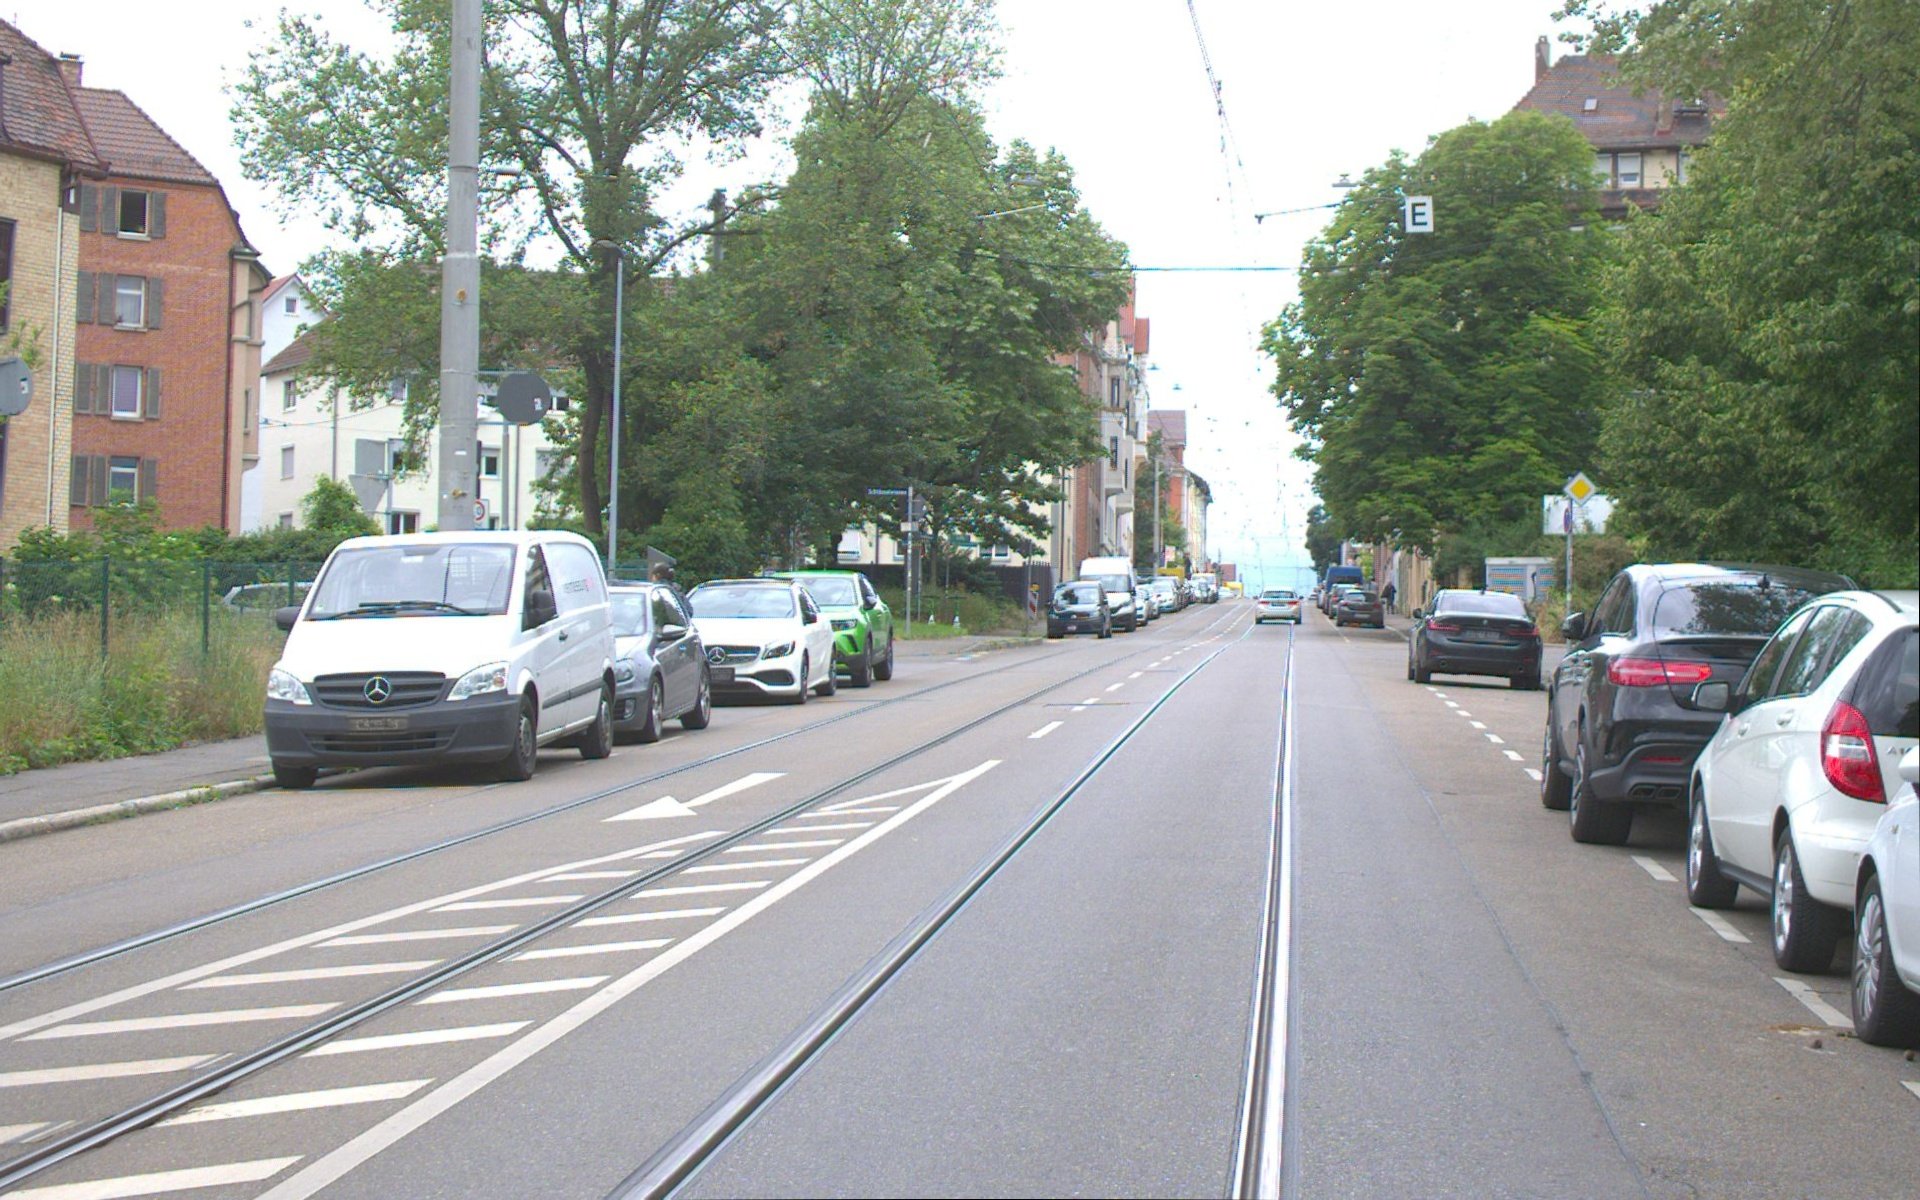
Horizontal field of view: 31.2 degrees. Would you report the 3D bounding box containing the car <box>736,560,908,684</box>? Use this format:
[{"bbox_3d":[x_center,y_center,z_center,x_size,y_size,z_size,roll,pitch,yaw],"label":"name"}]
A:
[{"bbox_3d":[-1.802,0.276,46.126,1.723,1.574,4.180,0,0,6],"label":"car"}]

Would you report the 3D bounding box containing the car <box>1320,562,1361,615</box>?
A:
[{"bbox_3d":[19.142,-0.573,173.033,1.994,2.566,4.703,1,-1,6],"label":"car"}]

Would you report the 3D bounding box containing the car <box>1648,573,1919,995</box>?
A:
[{"bbox_3d":[4.310,0.758,15.567,1.726,1.626,4.087,5,1,4],"label":"car"}]

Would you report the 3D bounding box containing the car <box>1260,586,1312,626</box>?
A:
[{"bbox_3d":[13.071,0.257,137.994,1.994,1.493,4.311,2,0,5],"label":"car"}]

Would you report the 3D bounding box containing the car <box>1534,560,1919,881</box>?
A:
[{"bbox_3d":[4.735,0.649,21.505,1.878,1.672,5.061,3,1,6],"label":"car"}]

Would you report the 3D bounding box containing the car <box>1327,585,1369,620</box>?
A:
[{"bbox_3d":[18.917,0.149,167.517,1.994,1.645,3.999,1,-1,6],"label":"car"}]

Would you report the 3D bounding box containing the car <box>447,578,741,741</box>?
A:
[{"bbox_3d":[-3.375,0.515,32.597,1.896,1.428,4.510,0,0,6],"label":"car"}]

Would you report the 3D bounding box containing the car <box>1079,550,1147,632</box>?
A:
[{"bbox_3d":[5.412,-0.280,121.009,2.231,2.755,5.798,2,0,4],"label":"car"}]

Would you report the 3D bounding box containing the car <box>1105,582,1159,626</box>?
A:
[{"bbox_3d":[6.579,0.162,131.254,1.994,1.595,4.311,2,0,4],"label":"car"}]

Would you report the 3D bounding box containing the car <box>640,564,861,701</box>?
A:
[{"bbox_3d":[-2.409,0.372,40.649,1.885,1.521,4.662,0,0,6],"label":"car"}]

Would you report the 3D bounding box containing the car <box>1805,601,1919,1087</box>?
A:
[{"bbox_3d":[3.861,0.820,10.698,1.629,1.511,4.063,4,1,4],"label":"car"}]

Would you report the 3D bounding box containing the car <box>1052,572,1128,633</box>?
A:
[{"bbox_3d":[4.051,0.081,106.582,1.994,1.802,3.999,2,0,7],"label":"car"}]

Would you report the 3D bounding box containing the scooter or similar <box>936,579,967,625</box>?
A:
[{"bbox_3d":[-0.251,0.053,102.421,0.691,1.334,1.638,2,0,7],"label":"scooter or similar"}]

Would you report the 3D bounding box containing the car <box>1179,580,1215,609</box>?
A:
[{"bbox_3d":[14.054,-0.311,203.905,1.994,1.596,3.999,2,0,5],"label":"car"}]

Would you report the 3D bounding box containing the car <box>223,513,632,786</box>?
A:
[{"bbox_3d":[-3.991,0.375,26.676,2.036,1.875,4.884,-2,-1,4],"label":"car"}]

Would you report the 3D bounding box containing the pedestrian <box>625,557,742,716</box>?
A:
[{"bbox_3d":[-2.884,0.381,35.824,0.805,1.623,0.916,2,-1,-37],"label":"pedestrian"}]

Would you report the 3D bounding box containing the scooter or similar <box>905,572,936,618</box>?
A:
[{"bbox_3d":[-1.167,-0.148,102.474,0.691,1.334,1.638,2,0,7],"label":"scooter or similar"}]

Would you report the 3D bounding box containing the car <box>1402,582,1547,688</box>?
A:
[{"bbox_3d":[7.696,0.513,51.800,1.828,1.425,4.846,3,0,5],"label":"car"}]

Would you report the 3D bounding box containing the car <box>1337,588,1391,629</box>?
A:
[{"bbox_3d":[15.809,0.337,134.508,1.994,1.525,4.311,2,0,7],"label":"car"}]

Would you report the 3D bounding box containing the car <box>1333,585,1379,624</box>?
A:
[{"bbox_3d":[17.814,0.213,154.878,1.994,1.711,3.999,1,-1,6],"label":"car"}]
